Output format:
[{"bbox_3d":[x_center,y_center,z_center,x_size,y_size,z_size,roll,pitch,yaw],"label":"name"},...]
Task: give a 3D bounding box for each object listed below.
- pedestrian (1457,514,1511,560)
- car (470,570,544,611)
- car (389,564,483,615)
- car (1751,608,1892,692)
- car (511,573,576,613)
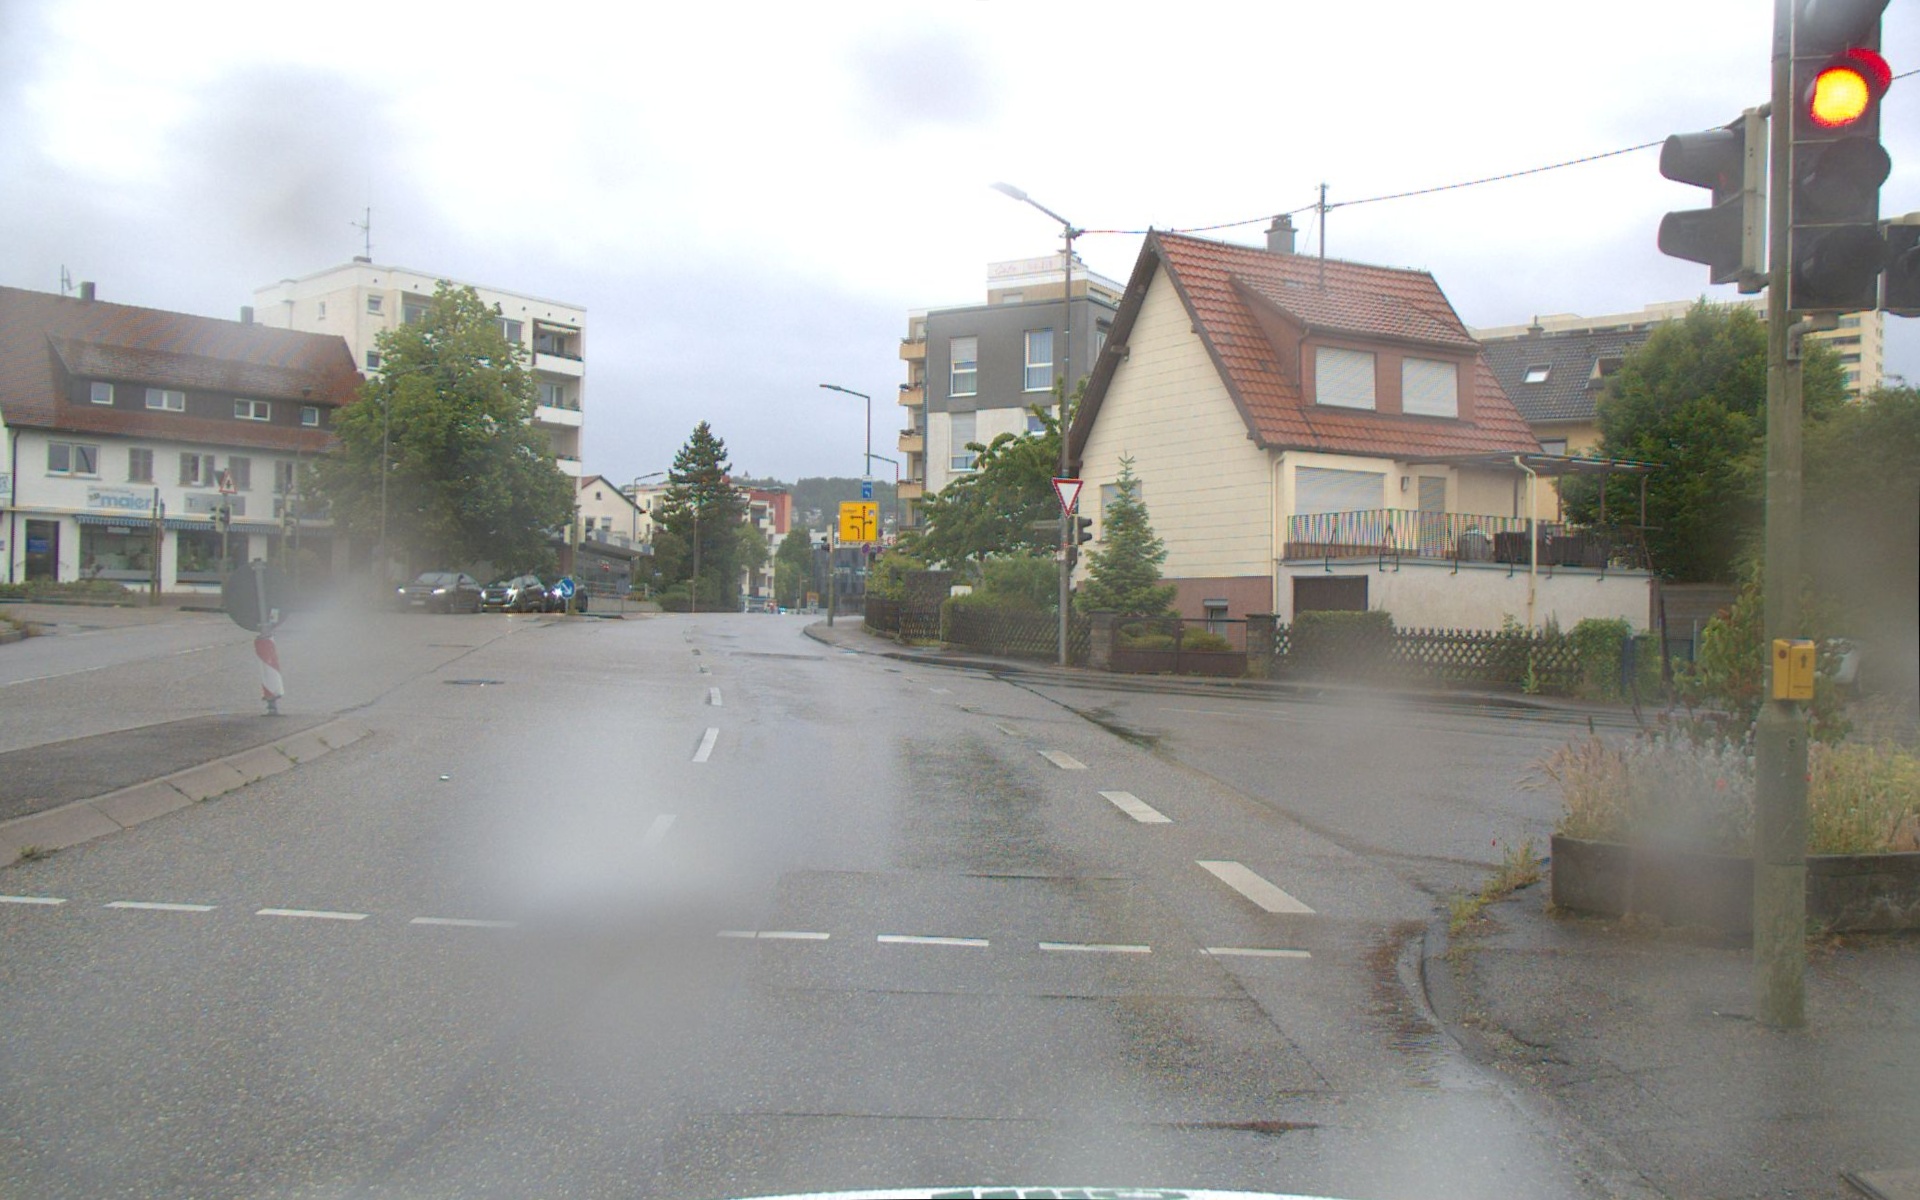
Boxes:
[{"bbox_3d":[11.149,-1.332,35.178,0.902,0.898,0.632,1,-2,-20],"label":"pedestrian"},{"bbox_3d":[-17.888,-0.371,65.491,1.927,1.538,3.998,1,0,-2],"label":"car"},{"bbox_3d":[-18.128,-0.333,57.423,1.953,1.653,4.537,1,0,-2],"label":"car"},{"bbox_3d":[15.618,0.868,29.876,1.780,1.386,3.986,1,0,35],"label":"car"},{"bbox_3d":[-17.841,-0.291,70.992,1.841,1.625,4.182,1,0,-2],"label":"car"}]
